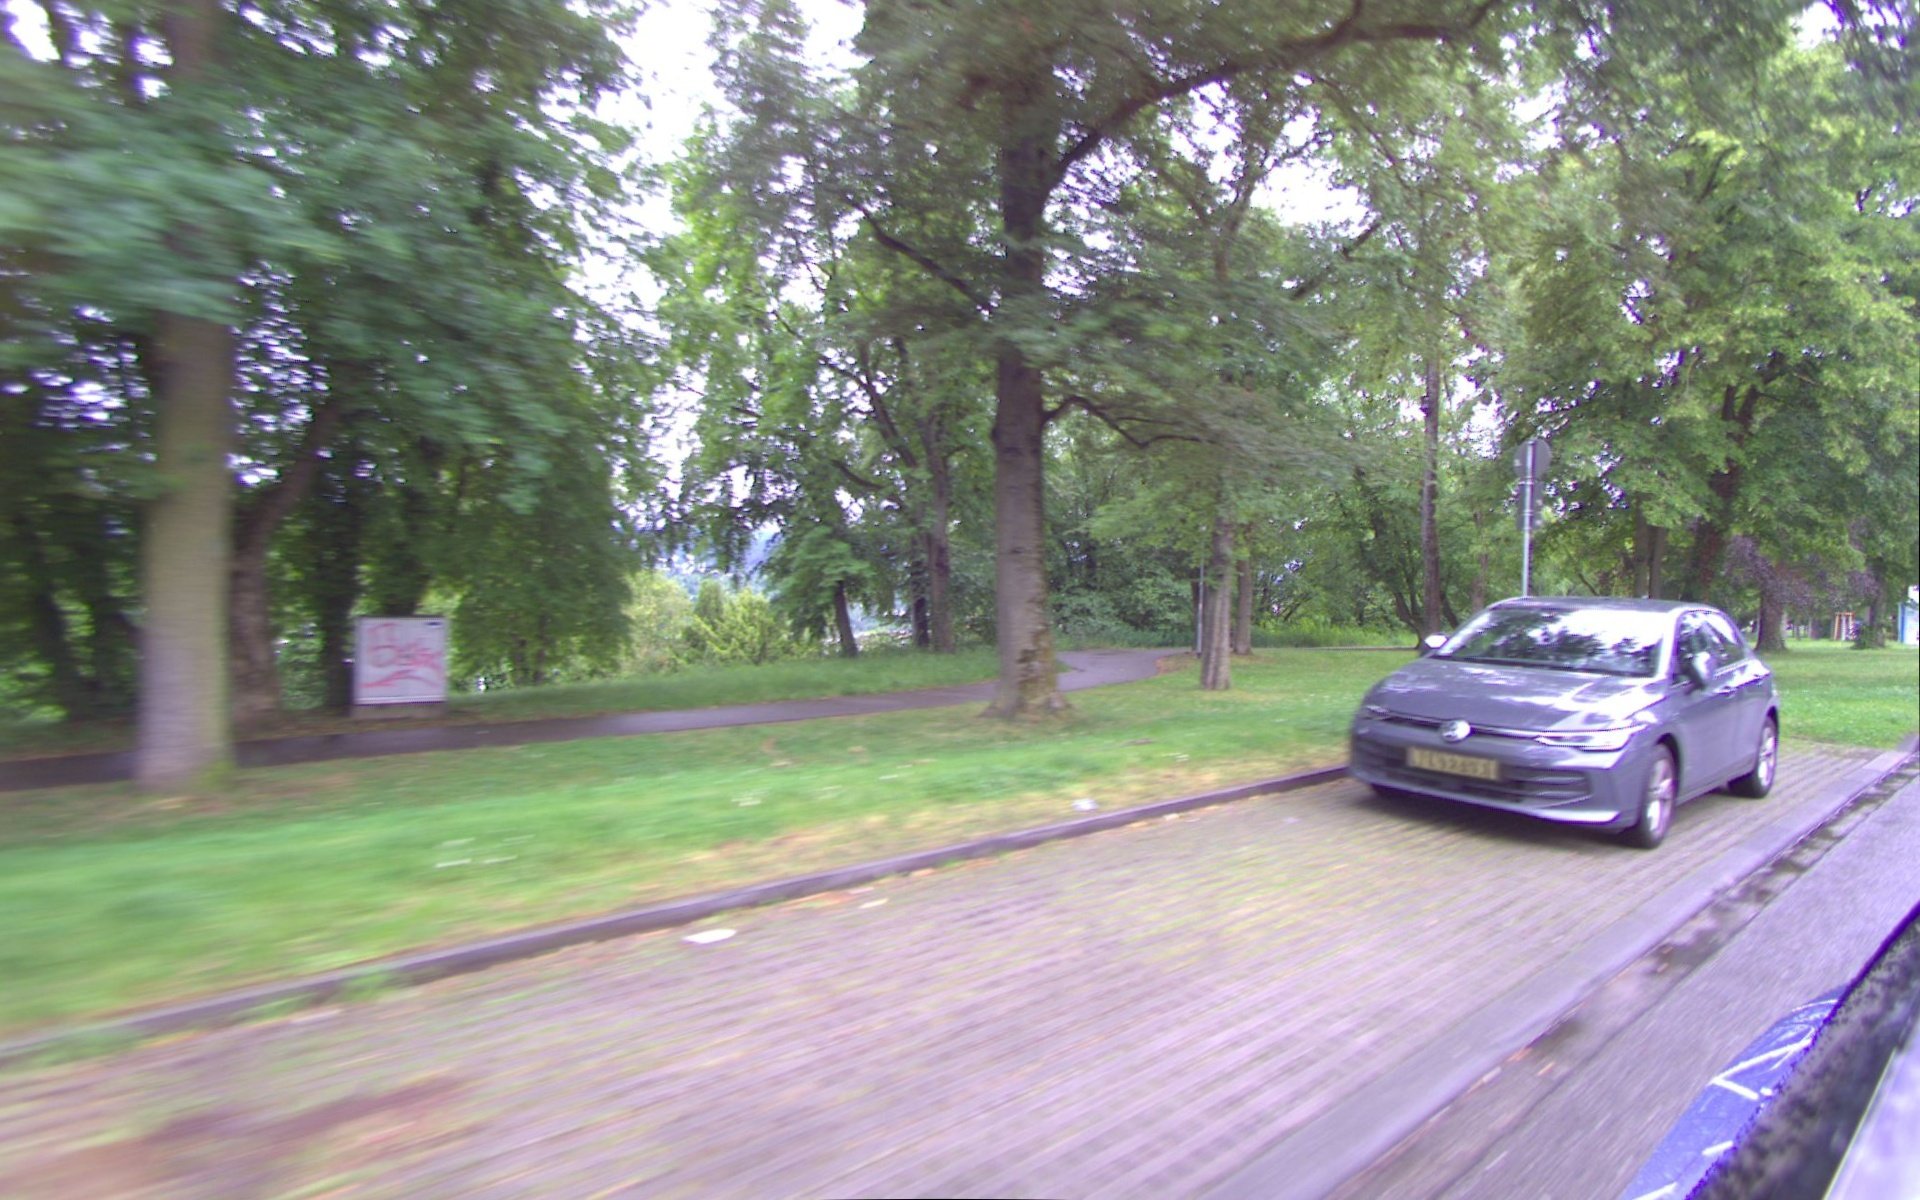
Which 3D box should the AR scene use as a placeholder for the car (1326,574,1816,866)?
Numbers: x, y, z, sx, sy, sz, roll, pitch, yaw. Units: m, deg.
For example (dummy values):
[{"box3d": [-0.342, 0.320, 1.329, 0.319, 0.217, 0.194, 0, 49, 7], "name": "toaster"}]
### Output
[{"box3d": [4.548, 0.624, 7.275, 4.141, 1.479, 1.705, 0, 3, -40], "name": "car"}]
